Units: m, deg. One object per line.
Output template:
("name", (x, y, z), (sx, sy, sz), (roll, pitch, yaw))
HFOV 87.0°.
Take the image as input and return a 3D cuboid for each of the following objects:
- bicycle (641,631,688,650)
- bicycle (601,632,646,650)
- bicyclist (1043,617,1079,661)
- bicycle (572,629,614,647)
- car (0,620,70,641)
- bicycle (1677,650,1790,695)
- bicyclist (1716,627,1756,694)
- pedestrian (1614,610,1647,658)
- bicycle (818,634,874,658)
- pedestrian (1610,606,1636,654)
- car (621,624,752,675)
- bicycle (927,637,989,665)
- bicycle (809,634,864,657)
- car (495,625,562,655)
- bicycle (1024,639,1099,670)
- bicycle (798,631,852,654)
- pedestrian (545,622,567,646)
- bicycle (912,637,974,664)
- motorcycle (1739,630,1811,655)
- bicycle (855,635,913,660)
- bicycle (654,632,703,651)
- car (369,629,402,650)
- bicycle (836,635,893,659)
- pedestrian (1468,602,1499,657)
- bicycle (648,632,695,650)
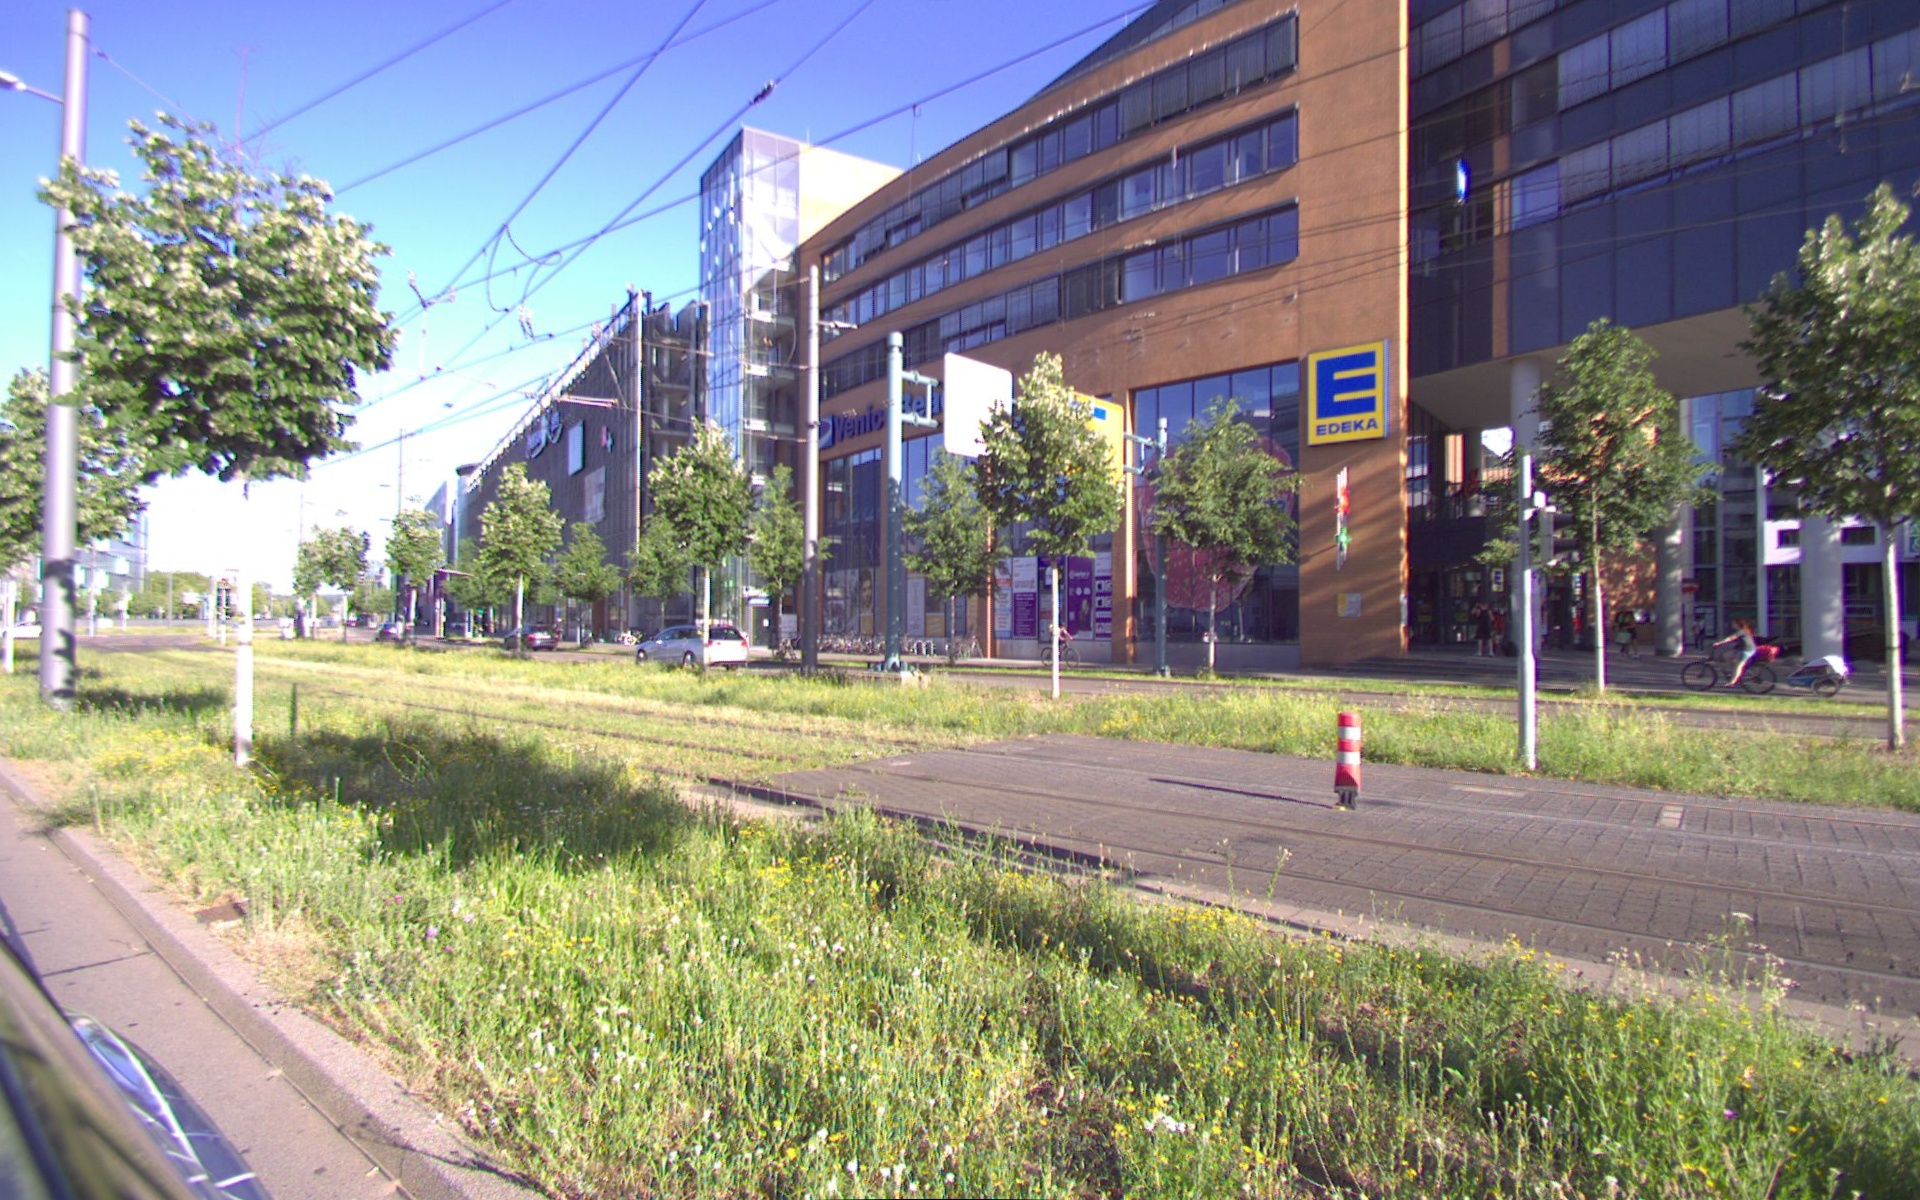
("bicycle", (-18.084, 2.487, 62.004), (2.648, 1.112, 0.897), (1, -3, -39))
("bicycle", (-21.959, 2.679, 66.008), (2.648, 1.112, 0.897), (1, -3, -39))
("bicyclist", (3.669, 1.401, 36.744), (0.939, 1.560, 0.883), (-2, -3, 41))
("bicycle", (-25.570, 2.631, 70.510), (2.648, 1.198, 0.897), (1, -3, -39))
("car", (-71.103, 2.373, 77.394), (4.282, 1.539, 1.683), (1, -2, -14))
("bicycle", (18.216, 1.690, 23.863), (2.065, 0.957, 0.682), (-1, -2, 40))
("bicyclist", (18.264, 1.397, 23.822), (0.702, 1.541, 0.682), (-1, -2, 40))
("pedestrian", (23.007, 1.161, 34.736), (0.688, 1.635, 0.735), (1, -2, -37))
("bicycle", (-5.549, 2.225, 49.418), (2.648, 1.112, 0.897), (1, -3, -39))
("pedestrian", (24.141, 1.084, 36.862), (0.698, 1.718, 0.724), (-1, -2, 40))
("car", (-8.823, 1.527, 32.462), (4.799, 1.539, 1.605), (-1, -2, 40))
("bicycle", (-0.066, 2.124, 42.609), (2.648, 1.112, 0.897), (1, -3, -39))
("bicycle", (-6.152, 2.266, 50.603), (2.648, 1.112, 0.897), (1, -3, -39))
("car", (-23.395, 2.140, 54.805), (4.354, 1.539, 1.605), (-1, -3, 42))
("bicycle", (3.666, 1.961, 36.716), (2.691, 1.112, 0.883), (-2, -3, 42))
("bicycle", (-6.880, 2.153, 51.545), (2.648, 1.112, 0.897), (1, -3, -39))
("pedestrian", (-29.408, 2.480, 73.645), (1.093, 1.694, 1.059), (-1, -2, 35))
("bicycle", (-0.720, 2.158, 43.428), (2.648, 1.112, 0.897), (1, -3, -39))
("motorcycle", (35.761, 1.838, 44.438), (0.819, 1.066, 2.347), (1, -2, -40))
("bicycle", (-3.547, 2.199, 47.174), (2.648, 1.112, 0.897), (1, -3, -39))
("bicycle", (-16.830, 2.466, 60.567), (2.648, 1.112, 0.897), (1, -3, -39))
("car", (-42.770, 2.924, 75.333), (1.600, 1.539, 4.365), (2, -3, -36))
("bicycle", (-4.516, 2.211, 48.101), (2.648, 1.112, 0.897), (1, -3, -39))
("pedestrian", (16.402, 0.924, 31.721), (0.698, 1.718, 0.724), (-1, -2, 40))
("bicycle", (-17.469, 2.475, 61.321), (2.648, 1.112, 0.827), (1, -3, -39))
